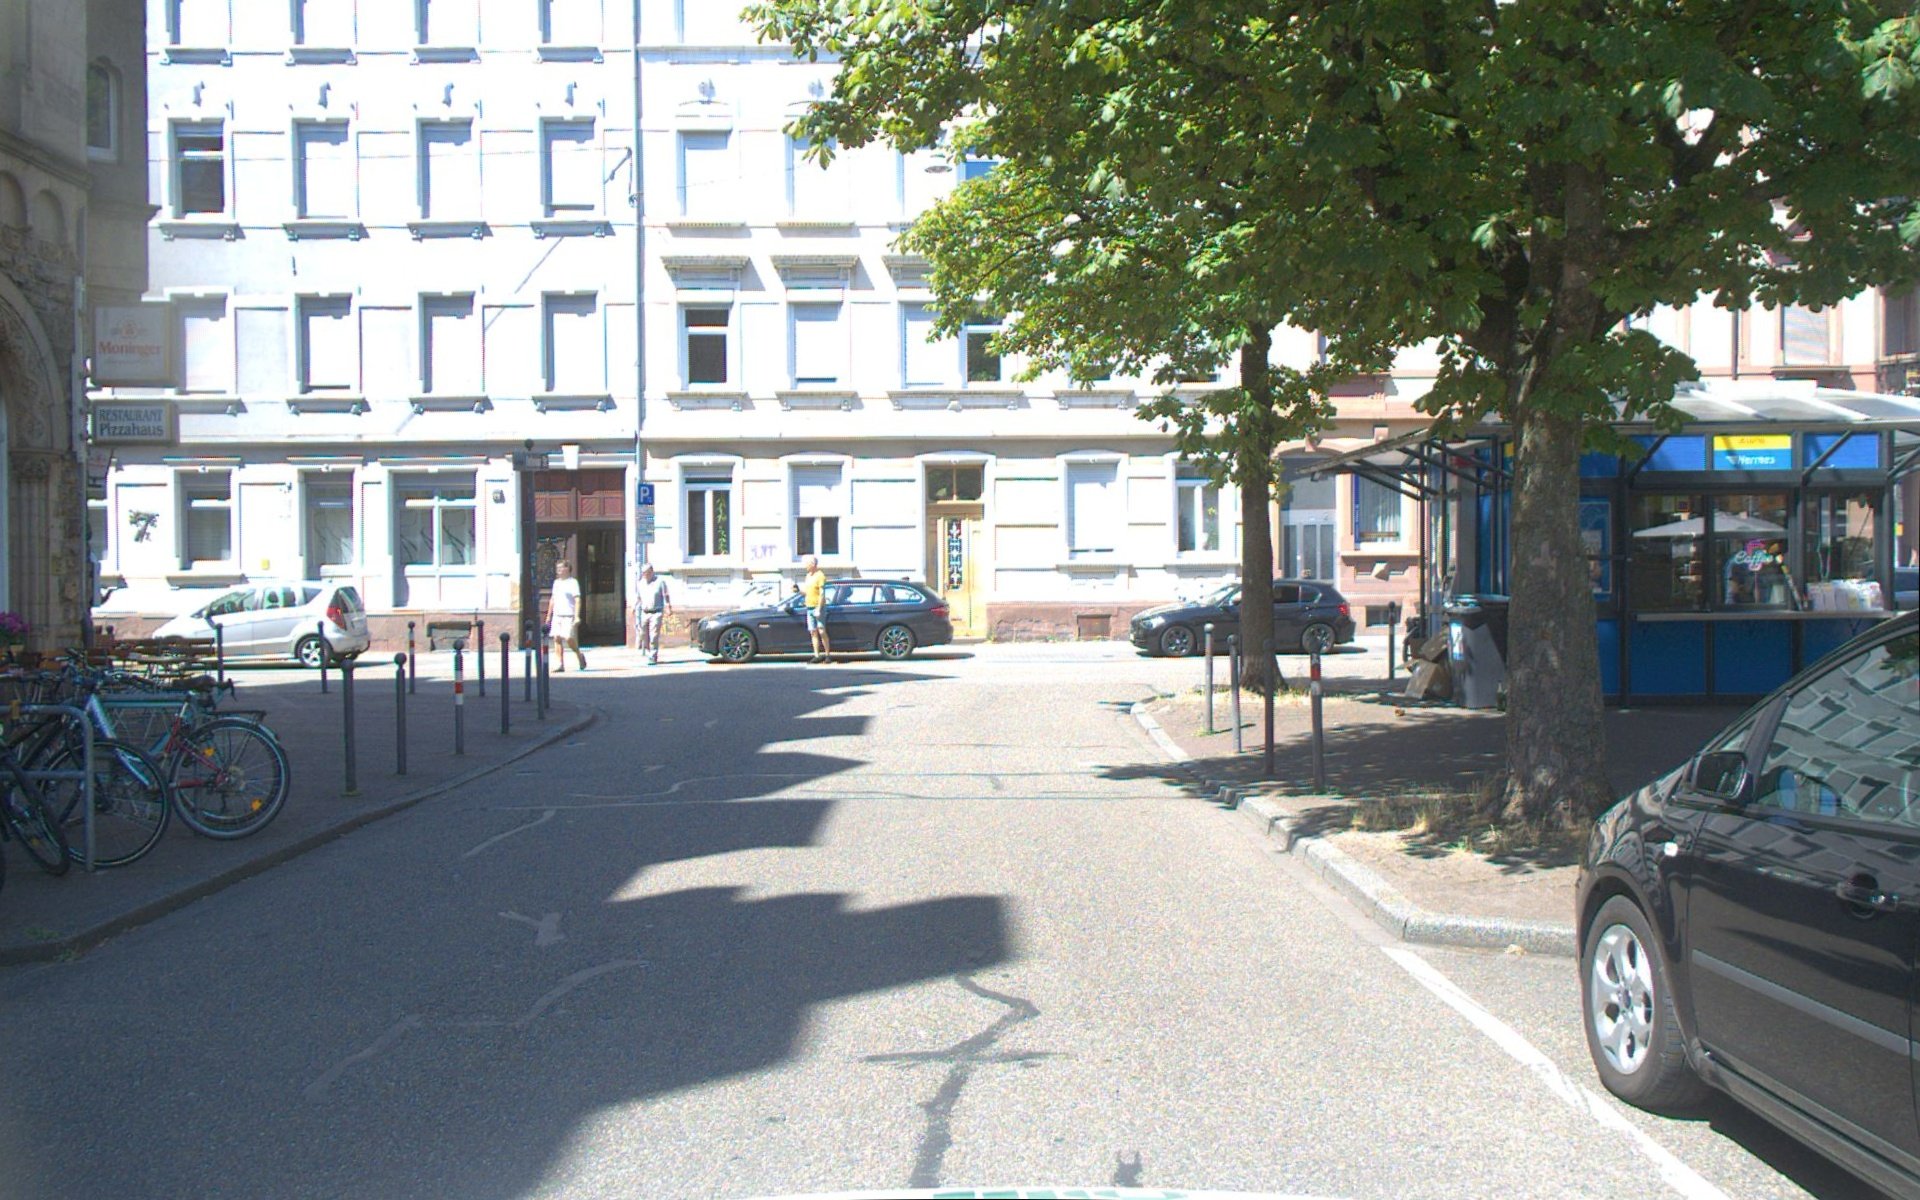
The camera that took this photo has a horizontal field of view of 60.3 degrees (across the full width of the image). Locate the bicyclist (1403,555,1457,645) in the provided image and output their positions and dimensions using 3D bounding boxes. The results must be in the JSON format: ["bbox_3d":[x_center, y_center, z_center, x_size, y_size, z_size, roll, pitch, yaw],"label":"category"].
[{"bbox_3d":[8.294,0.006,29.192,0.604,1.560,0.662,-2,0,-42],"label":"bicyclist"}]

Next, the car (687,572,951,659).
[{"bbox_3d":[-2.575,0.270,31.119,4.760,1.462,2.000,-1,0,-1],"label":"car"}]

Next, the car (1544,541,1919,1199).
[{"bbox_3d":[2.914,0.670,3.717,1.629,1.567,4.177,1,1,-1],"label":"car"}]

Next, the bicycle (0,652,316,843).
[{"bbox_3d":[-4.743,0.863,9.780,1.671,1.063,0.414,1,0,-5],"label":"bicycle"}]

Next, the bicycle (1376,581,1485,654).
[{"bbox_3d":[8.341,0.298,29.230,2.419,1.230,0.644,0,0,-41],"label":"bicycle"}]

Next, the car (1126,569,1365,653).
[{"bbox_3d":[5.357,0.185,31.377,4.207,1.394,1.807,-1,3,-1],"label":"car"}]

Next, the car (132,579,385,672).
[{"bbox_3d":[-13.156,0.460,31.198,3.965,1.589,1.806,-1,0,-2],"label":"car"}]

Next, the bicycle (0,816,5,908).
[{"bbox_3d":[-5.199,0.891,7.313,1.669,1.119,0.292,-3,0,-5],"label":"bicycle"}]

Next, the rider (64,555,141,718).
[{"bbox_3d":[-9.309,0.385,17.946,0.631,1.726,0.537,-1,0,44],"label":"rider"}]

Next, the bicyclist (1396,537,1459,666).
[{"bbox_3d":[6.612,0.020,23.421,0.596,1.791,0.671,1,0,-11],"label":"bicyclist"}]

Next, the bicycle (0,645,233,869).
[{"bbox_3d":[-4.980,0.822,8.831,1.956,1.149,0.435,1,0,-5],"label":"bicycle"}]

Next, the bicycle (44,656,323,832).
[{"bbox_3d":[-4.770,0.883,10.206,1.495,1.025,0.367,1,0,-5],"label":"bicycle"}]

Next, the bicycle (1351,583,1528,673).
[{"bbox_3d":[6.790,0.394,23.449,2.391,1.250,0.652,1,0,-13],"label":"bicycle"}]

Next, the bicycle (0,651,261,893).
[{"bbox_3d":[-4.653,0.856,8.429,1.933,1.149,0.394,2,0,-5],"label":"bicycle"}]

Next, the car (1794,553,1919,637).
[{"bbox_3d":[18.362,-0.134,31.640,3.906,1.532,1.778,-1,0,-2],"label":"car"}]

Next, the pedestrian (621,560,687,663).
[{"bbox_3d":[-5.619,0.203,30.440,0.882,1.845,0.961,-1,0,9],"label":"pedestrian"}]

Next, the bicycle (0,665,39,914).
[{"bbox_3d":[-5.200,0.857,7.627,1.669,1.119,0.292,1,0,-5],"label":"bicycle"}]

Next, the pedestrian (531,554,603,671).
[{"bbox_3d":[-6.644,0.206,28.010,0.831,1.922,0.936,-1,0,10],"label":"pedestrian"}]

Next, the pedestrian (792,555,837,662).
[{"bbox_3d":[-2.633,0.144,29.825,0.711,1.885,0.683,-1,0,-10],"label":"pedestrian"}]
